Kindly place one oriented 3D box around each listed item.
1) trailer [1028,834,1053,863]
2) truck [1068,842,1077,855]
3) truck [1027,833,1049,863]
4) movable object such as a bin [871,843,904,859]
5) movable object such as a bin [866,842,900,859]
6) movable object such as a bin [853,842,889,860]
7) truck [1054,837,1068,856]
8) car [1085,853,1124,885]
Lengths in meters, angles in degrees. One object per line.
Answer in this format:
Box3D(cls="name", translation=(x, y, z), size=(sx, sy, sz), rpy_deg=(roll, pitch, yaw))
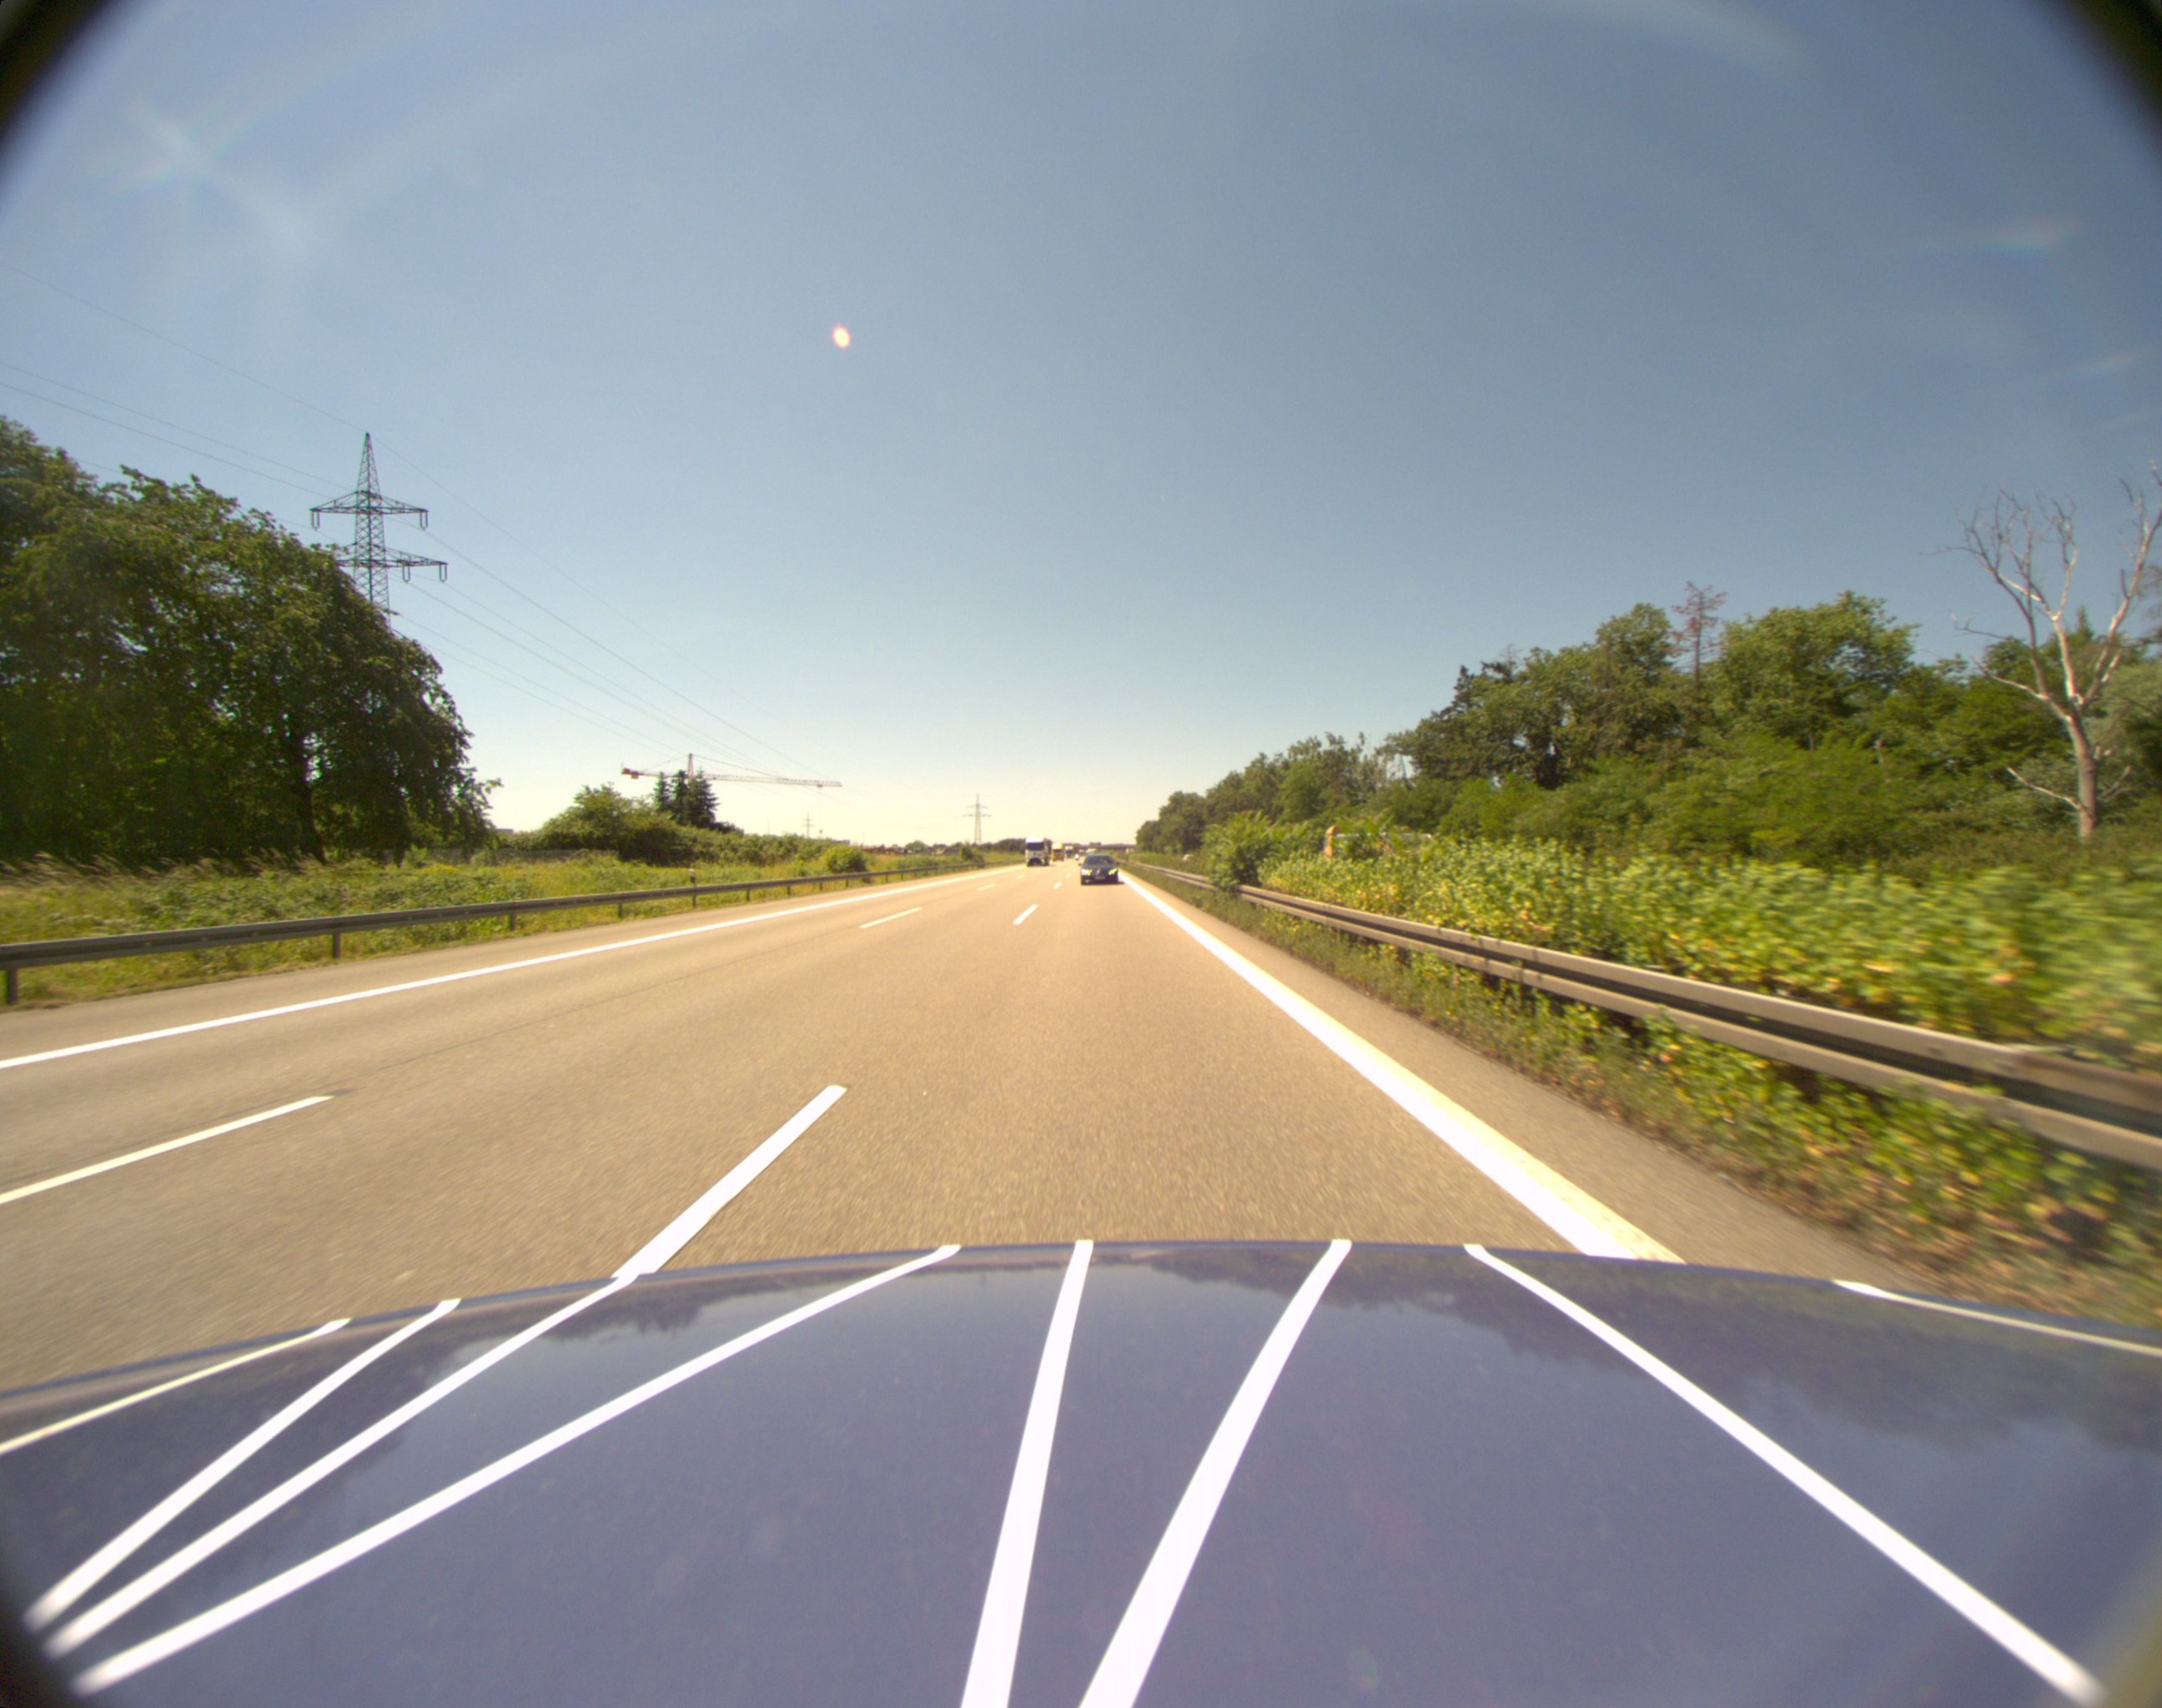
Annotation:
Box3D(cls="trailer", translation=(-5.699, -0.843, 108.794), size=(2.573, 3.871, 13.278), rpy_deg=(-2, 1, 0))
Box3D(cls="truck", translation=(-2.832, -1.744, 256.687), size=(2.978, 4.240, 12.610), rpy_deg=(0, 1, 0))
Box3D(cls="truck", translation=(-5.741, -0.785, 102.398), size=(2.573, 3.871, 5.722), rpy_deg=(-2, 1, 0))
Box3D(cls="movable object such as a bin", translation=(-53.245, -0.880, 208.806), size=(8.113, 3.928, 3.137), rpy_deg=(-2, 1, 2))
Box3D(cls="movable object such as a bin", translation=(-53.275, -1.005, 204.730), size=(8.113, 4.272, 3.299), rpy_deg=(-2, 1, 2))
Box3D(cls="movable object such as a bin", translation=(-53.362, -0.740, 192.782), size=(8.113, 4.272, 2.881), rpy_deg=(-2, 1, 2))
Box3D(cls="truck", translation=(-4.561, -1.798, 174.602), size=(2.978, 4.240, 12.610), rpy_deg=(0, 1, 0))
Box3D(cls="car", translation=(1.132, 0.713, 37.970), size=(1.808, 1.385, 3.999), rpy_deg=(-2, 1, 0))
